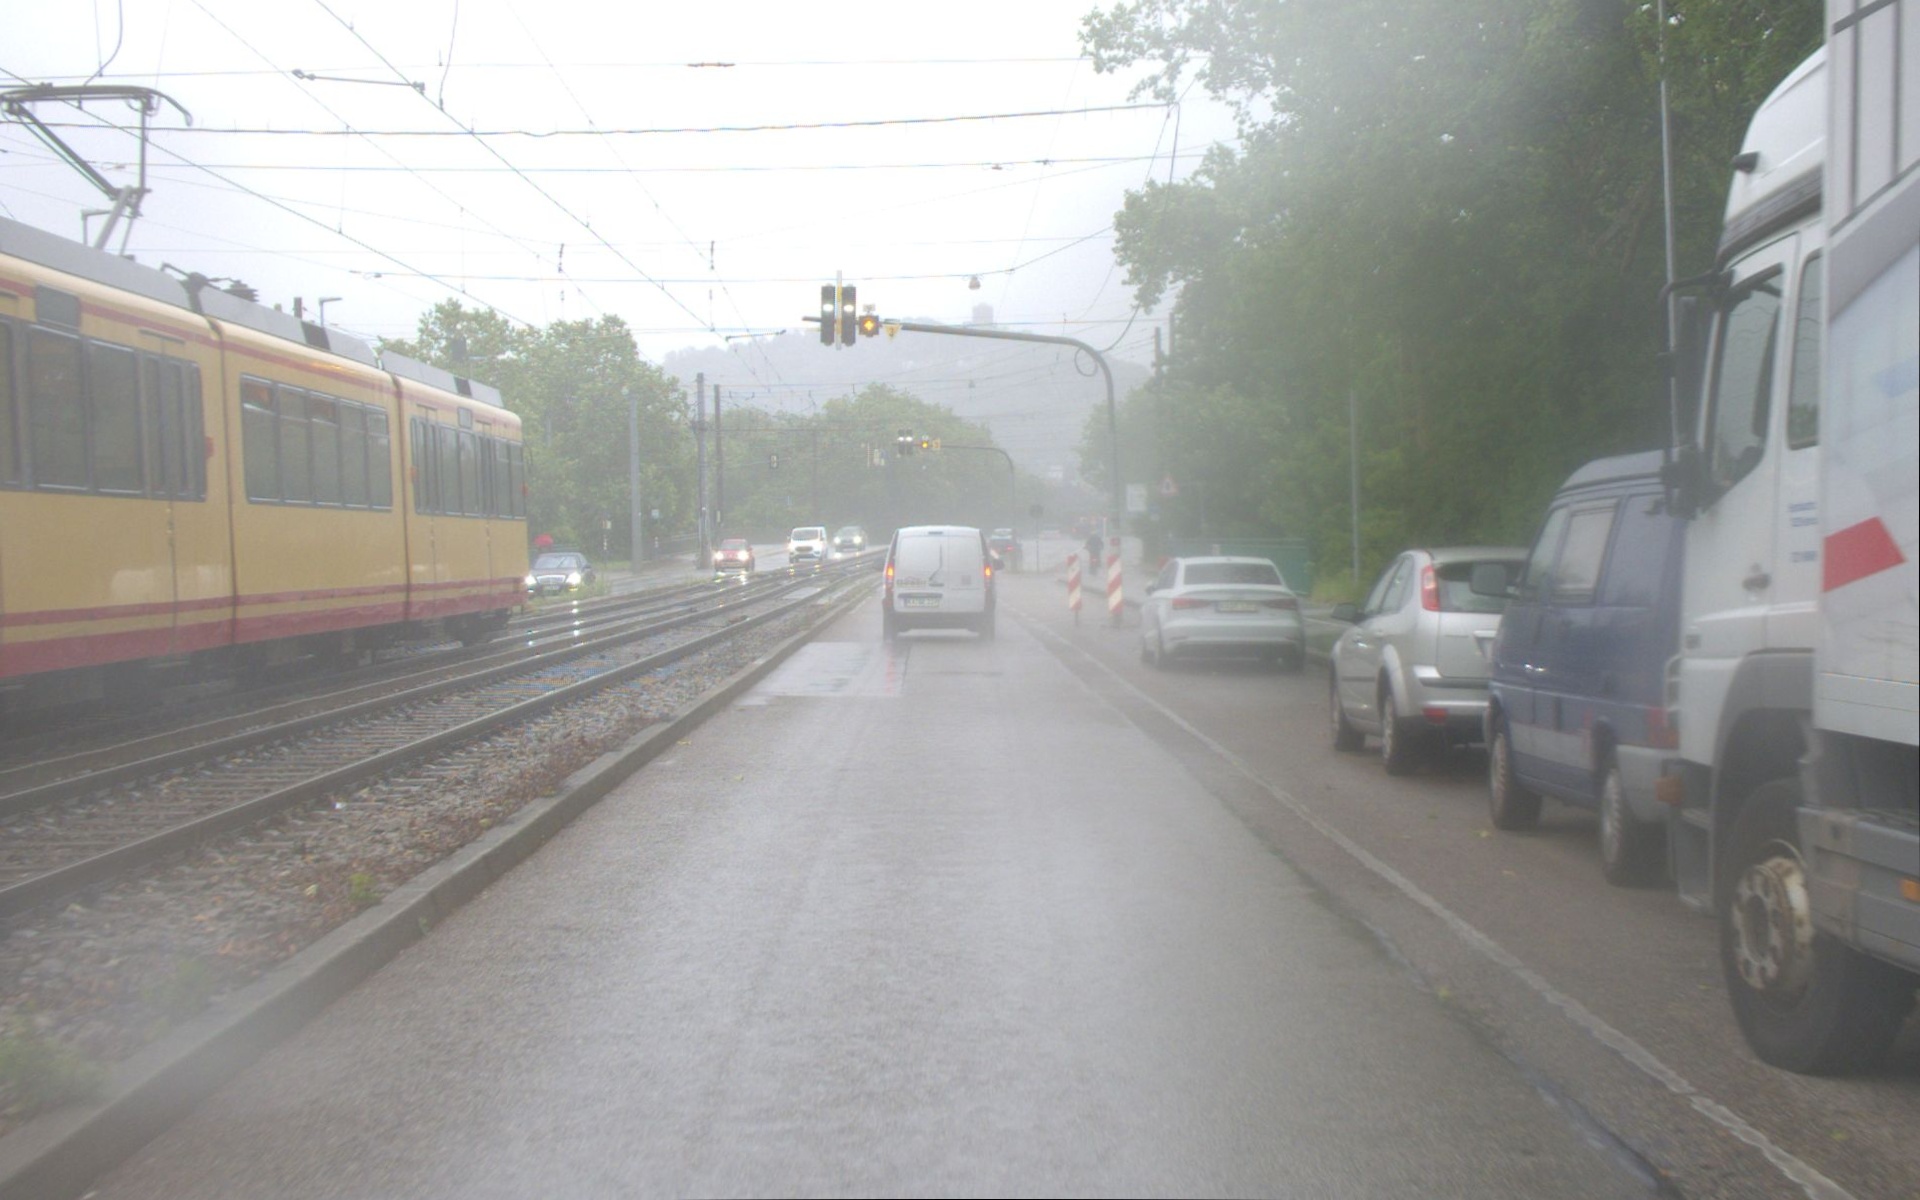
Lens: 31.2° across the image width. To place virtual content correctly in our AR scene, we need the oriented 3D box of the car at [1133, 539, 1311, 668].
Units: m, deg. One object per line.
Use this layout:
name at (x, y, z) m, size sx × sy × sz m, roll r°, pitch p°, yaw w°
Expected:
car at (3.220, 0.002, 42.955) m, size 1.819 × 1.481 × 4.481 m, roll 1°, pitch 1°, yaw 0°

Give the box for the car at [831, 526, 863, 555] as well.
car at (-7.545, -3.985, 230.344) m, size 1.993 × 1.941 × 4.000 m, roll 0°, pitch 0°, yaw 1°

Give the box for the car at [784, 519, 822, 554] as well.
car at (-9.320, -3.749, 203.983) m, size 1.993 × 2.007 × 4.000 m, roll 0°, pitch 0°, yaw 1°

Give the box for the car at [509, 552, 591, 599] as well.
car at (-12.967, -0.804, 108.982) m, size 1.993 × 1.399 × 5.386 m, roll -1°, pitch 1°, yaw -1°

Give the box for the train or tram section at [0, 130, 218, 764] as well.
train or tram section at (-7.664, -0.995, 22.467) m, size 2.806 × 4.135 × 13.020 m, roll 0°, pitch 1°, yaw 0°

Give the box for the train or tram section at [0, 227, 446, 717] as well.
train or tram section at (-7.657, -1.151, 35.529) m, size 2.806 × 4.135 × 13.020 m, roll 0°, pitch 1°, yaw 0°

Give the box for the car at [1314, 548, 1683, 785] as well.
car at (3.599, 0.398, 23.731) m, size 1.812 × 1.454 × 4.346 m, roll 1°, pitch 0°, yaw 0°

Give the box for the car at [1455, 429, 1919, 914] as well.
car at (3.754, 0.260, 16.829) m, size 1.876 × 2.007 × 4.980 m, roll 1°, pitch 1°, yaw 0°

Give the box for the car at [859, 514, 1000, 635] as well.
car at (-0.524, -0.422, 54.446) m, size 1.993 × 1.842 × 4.001 m, roll 0°, pitch 1°, yaw -4°

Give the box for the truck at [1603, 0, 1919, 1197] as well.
truck at (3.709, -0.430, 6.591) m, size 2.775 × 3.691 × 9.853 m, roll 0°, pitch 0°, yaw -2°

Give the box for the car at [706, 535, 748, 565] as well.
car at (-11.430, -2.460, 168.917) m, size 1.819 × 1.393 × 4.000 m, roll -1°, pitch 1°, yaw -1°

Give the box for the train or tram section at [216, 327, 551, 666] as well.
train or tram section at (-7.663, -1.291, 47.163) m, size 2.811 × 4.135 × 10.269 m, roll 0°, pitch 0°, yaw 0°
